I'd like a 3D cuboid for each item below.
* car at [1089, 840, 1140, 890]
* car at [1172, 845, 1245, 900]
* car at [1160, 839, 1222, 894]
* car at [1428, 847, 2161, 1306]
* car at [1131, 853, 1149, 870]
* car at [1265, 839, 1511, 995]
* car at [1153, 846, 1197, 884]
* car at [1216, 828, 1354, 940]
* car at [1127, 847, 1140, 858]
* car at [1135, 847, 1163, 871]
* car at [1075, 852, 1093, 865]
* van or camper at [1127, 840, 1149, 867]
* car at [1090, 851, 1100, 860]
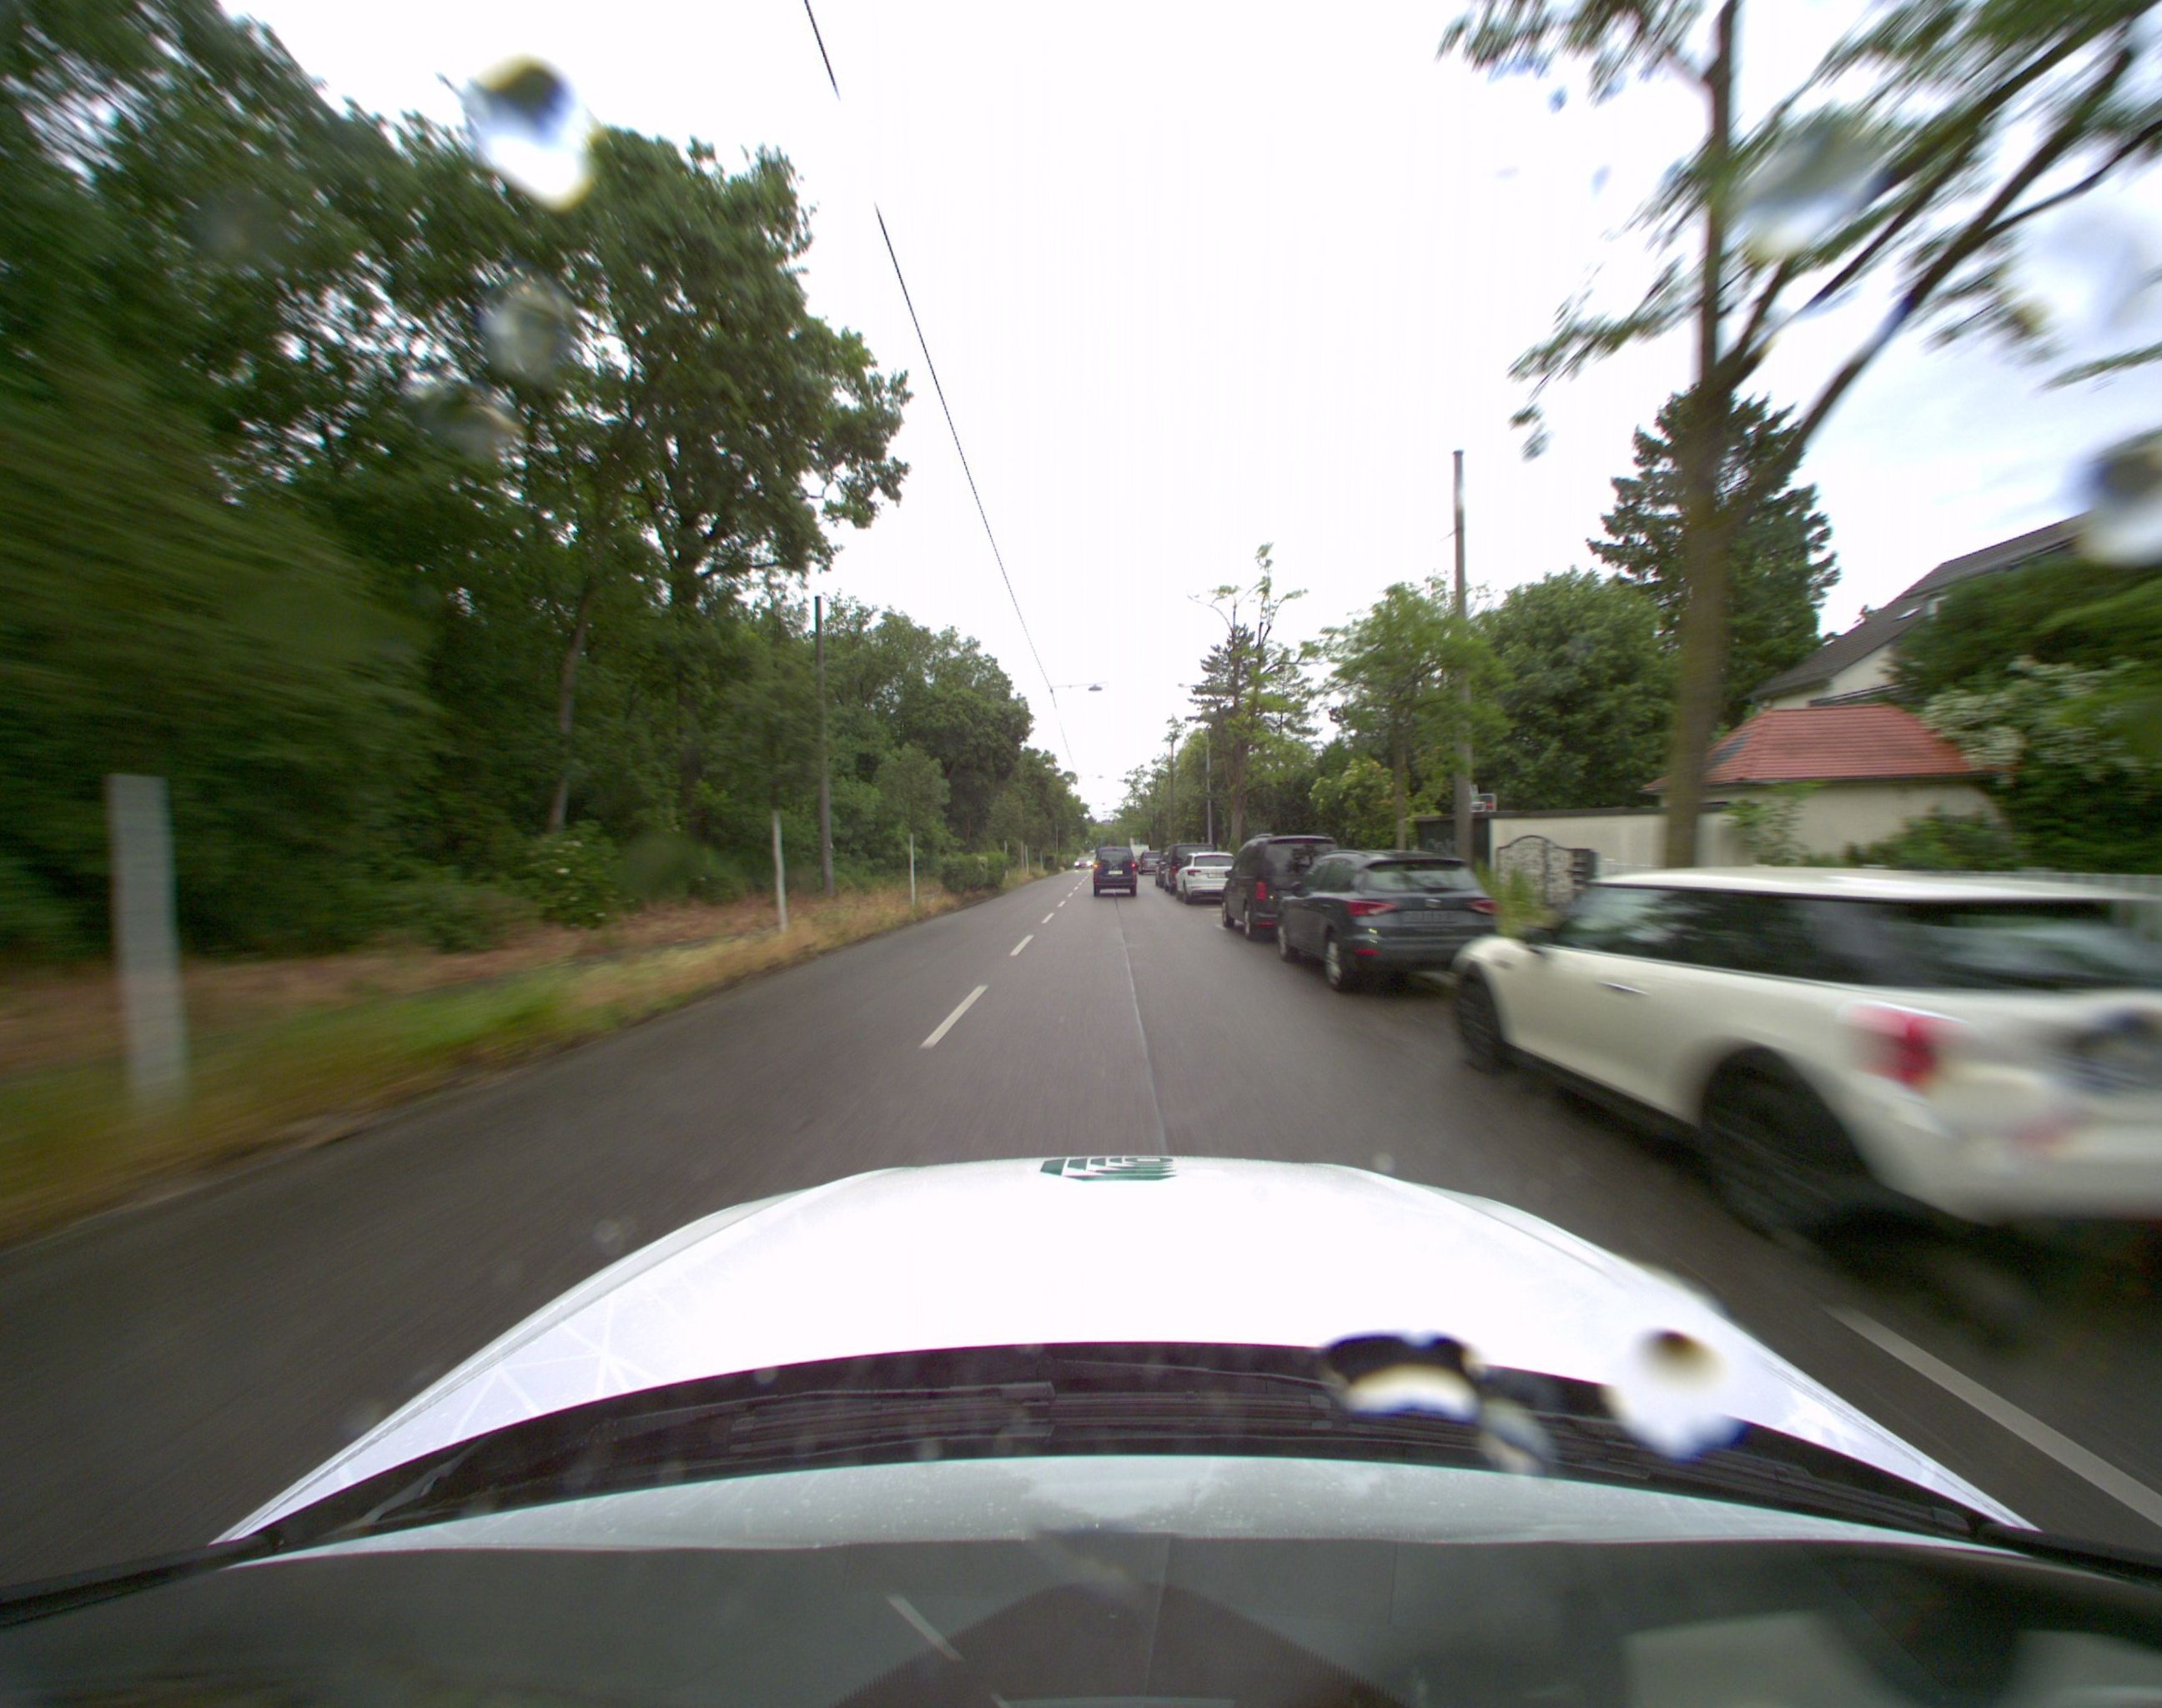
[{"bbox_3d":[1.253,0.389,31.404,1.762,1.830,3.540,0,1,-1],"label":"car"},{"bbox_3d":[3.992,0.525,26.111,1.798,1.613,4.287,0,1,1],"label":"car"},{"bbox_3d":[4.306,0.426,32.578,1.986,2.013,4.891,0,1,2],"label":"car"},{"bbox_3d":[3.511,0.697,4.472,1.731,1.464,3.726,0,1,2],"label":"car"},{"bbox_3d":[5.531,0.695,75.493,1.618,1.464,3.813,0,1,5],"label":"car"},{"bbox_3d":[3.536,0.607,10.198,1.672,1.555,4.078,0,1,2],"label":"car"},{"bbox_3d":[4.449,0.464,39.040,1.766,1.723,4.329,0,1,2],"label":"car"},{"bbox_3d":[3.715,0.470,15.545,1.723,1.847,4.232,0,1,2],"label":"car"},{"bbox_3d":[7.463,-0.249,116.392,1.714,1.505,4.053,0,1,2],"label":"car"},{"bbox_3d":[5.221,0.351,62.677,1.808,1.813,4.283,0,1,0],"label":"car"},{"bbox_3d":[0.367,0.542,95.722,1.853,1.480,4.159,-2,0,2],"label":"car"},{"bbox_3d":[5.838,-0.058,83.548,2.071,2.650,5.348,0,1,2],"label":"van or camper"},{"bbox_3d":[2.604,0.342,148.838,1.777,1.479,3.968,-2,-1,1],"label":"car"}]
